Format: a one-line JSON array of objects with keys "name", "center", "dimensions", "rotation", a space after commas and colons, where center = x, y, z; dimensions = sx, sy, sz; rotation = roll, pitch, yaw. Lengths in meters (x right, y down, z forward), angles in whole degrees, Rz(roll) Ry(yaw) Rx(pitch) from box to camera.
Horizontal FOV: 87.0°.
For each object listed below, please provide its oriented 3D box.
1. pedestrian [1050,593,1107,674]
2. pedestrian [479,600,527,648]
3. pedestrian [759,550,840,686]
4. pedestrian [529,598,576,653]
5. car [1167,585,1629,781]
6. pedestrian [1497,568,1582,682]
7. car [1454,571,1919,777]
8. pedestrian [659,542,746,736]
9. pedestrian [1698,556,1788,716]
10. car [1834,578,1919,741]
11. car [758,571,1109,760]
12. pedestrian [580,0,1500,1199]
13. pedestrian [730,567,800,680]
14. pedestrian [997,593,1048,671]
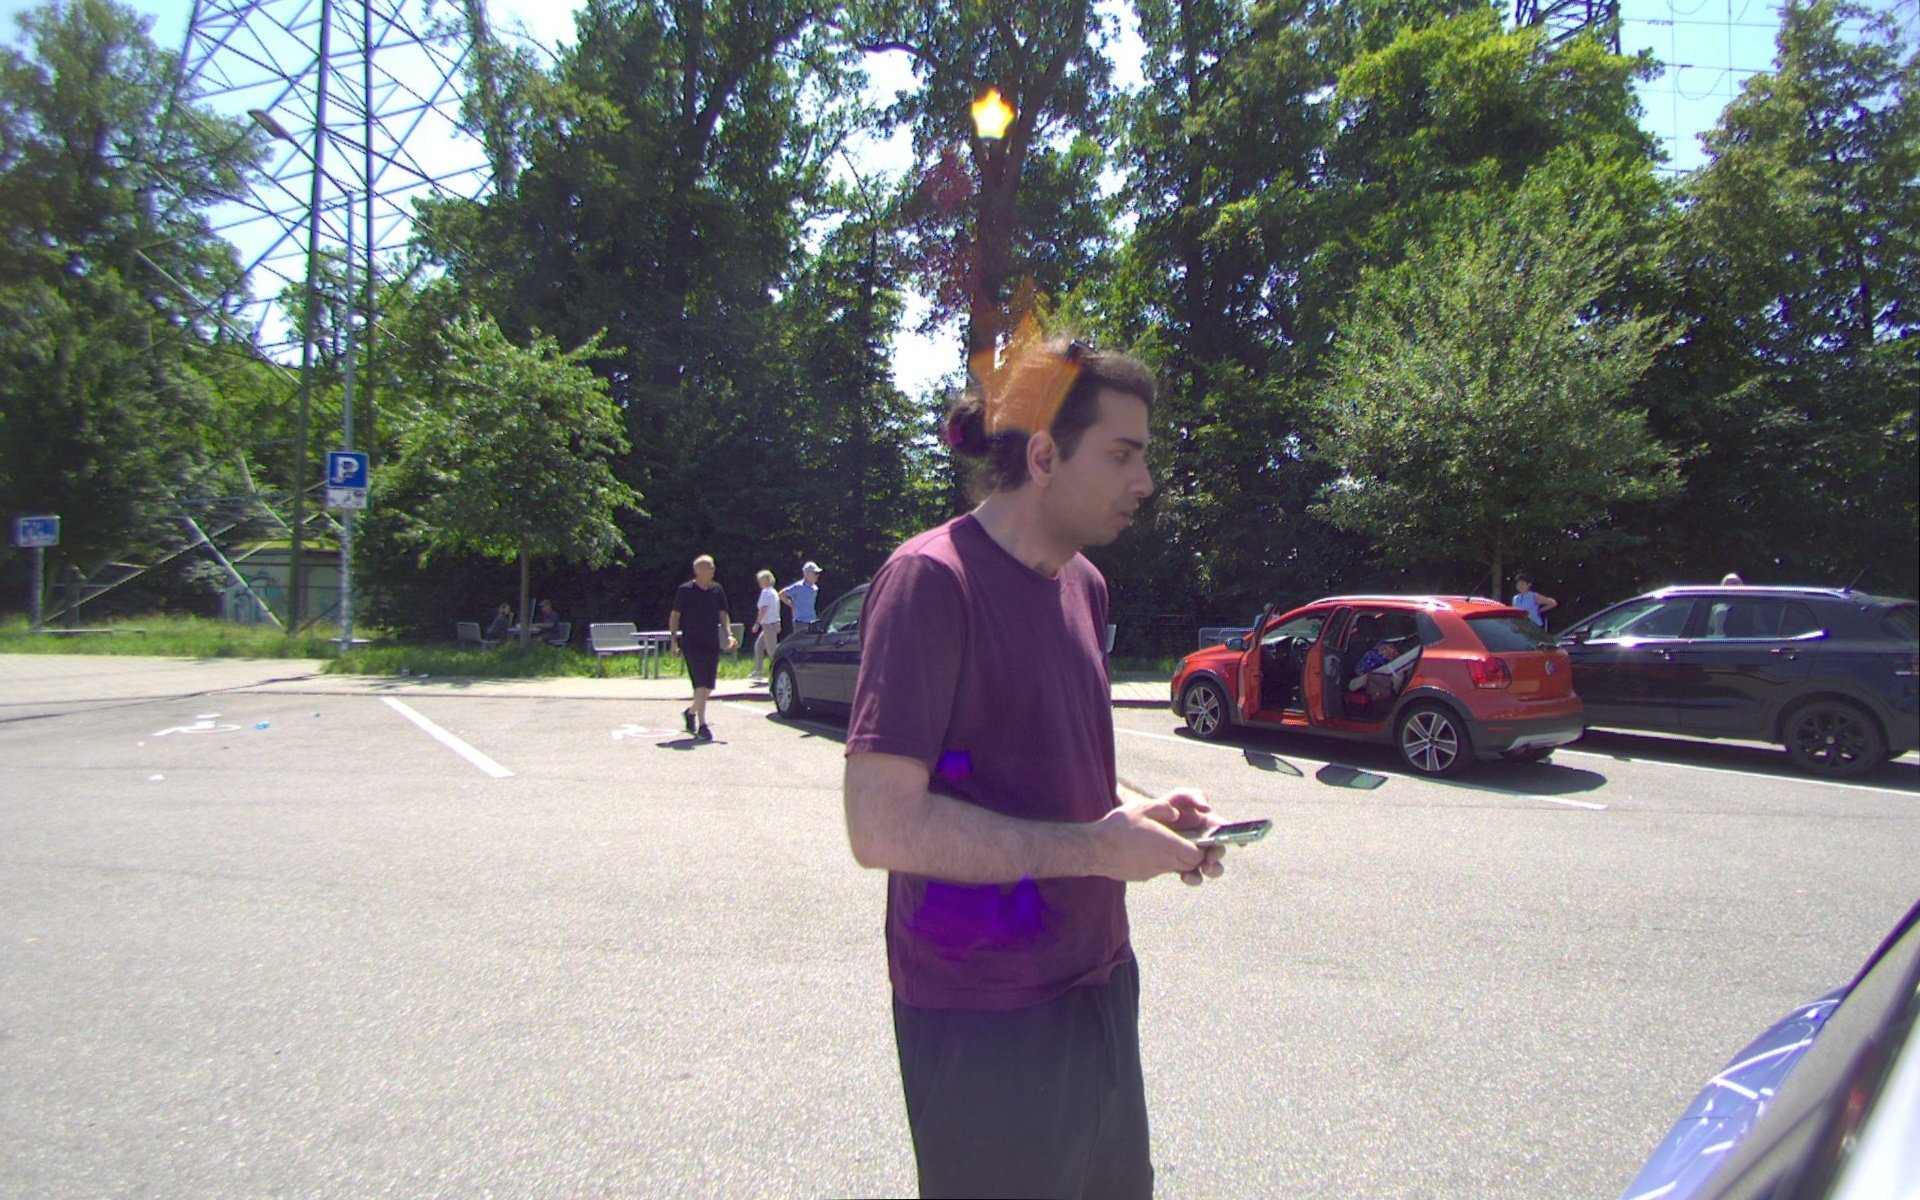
[{"name": "pedestrian", "center": [1.973, 0.551, 16.972], "dimensions": [0.656, 1.311, 0.832], "rotation": [1, -1, -17]}, {"name": "pedestrian", "center": [-10.316, 0.526, 22.837], "dimensions": [0.796, 1.062, 0.714], "rotation": [1, -1, -43]}, {"name": "pedestrian", "center": [-2.200, 0.240, 13.861], "dimensions": [0.786, 1.784, 0.809], "rotation": [1, -1, -39]}, {"name": "pedestrian", "center": [-9.520, 0.582, 23.623], "dimensions": [0.796, 1.253, 0.713], "rotation": [1, -1, -44]}, {"name": "car", "center": [3.934, 0.623, 9.643], "dimensions": [1.746, 1.475, 3.710], "rotation": [1, 0, -33]}, {"name": "pedestrian", "center": [8.441, 0.354, 14.757], "dimensions": [0.793, 1.614, 0.716], "rotation": [1, -1, -9]}, {"name": "car", "center": [7.215, 0.577, 9.830], "dimensions": [1.807, 1.612, 3.967], "rotation": [1, 0, -38]}, {"name": "pedestrian", "center": [-2.622, 0.375, 10.256], "dimensions": [0.700, 1.851, 0.906], "rotation": [1, -1, -23]}, {"name": "pedestrian", "center": [9.613, 0.424, 12.446], "dimensions": [0.672, 1.889, 0.710], "rotation": [0, -1, 19]}, {"name": "car", "center": [10.936, 0.601, 9.379], "dimensions": [1.745, 1.612, 3.972], "rotation": [1, 0, -32]}, {"name": "car", "center": [-0.477, 0.545, 10.691], "dimensions": [1.809, 1.588, 4.017], "rotation": [1, 0, -35]}, {"name": "pedestrian", "center": [0.125, 0.422, 1.358], "dimensions": [0.828, 1.797, 0.926], "rotation": [0, -1, 45]}, {"name": "pedestrian", "center": [-2.884, 0.336, 14.971], "dimensions": [0.760, 1.614, 0.810], "rotation": [1, -1, -32]}, {"name": "pedestrian", "center": [1.049, 0.539, 17.178], "dimensions": [0.656, 1.285, 0.655], "rotation": [1, -1, -17]}]
